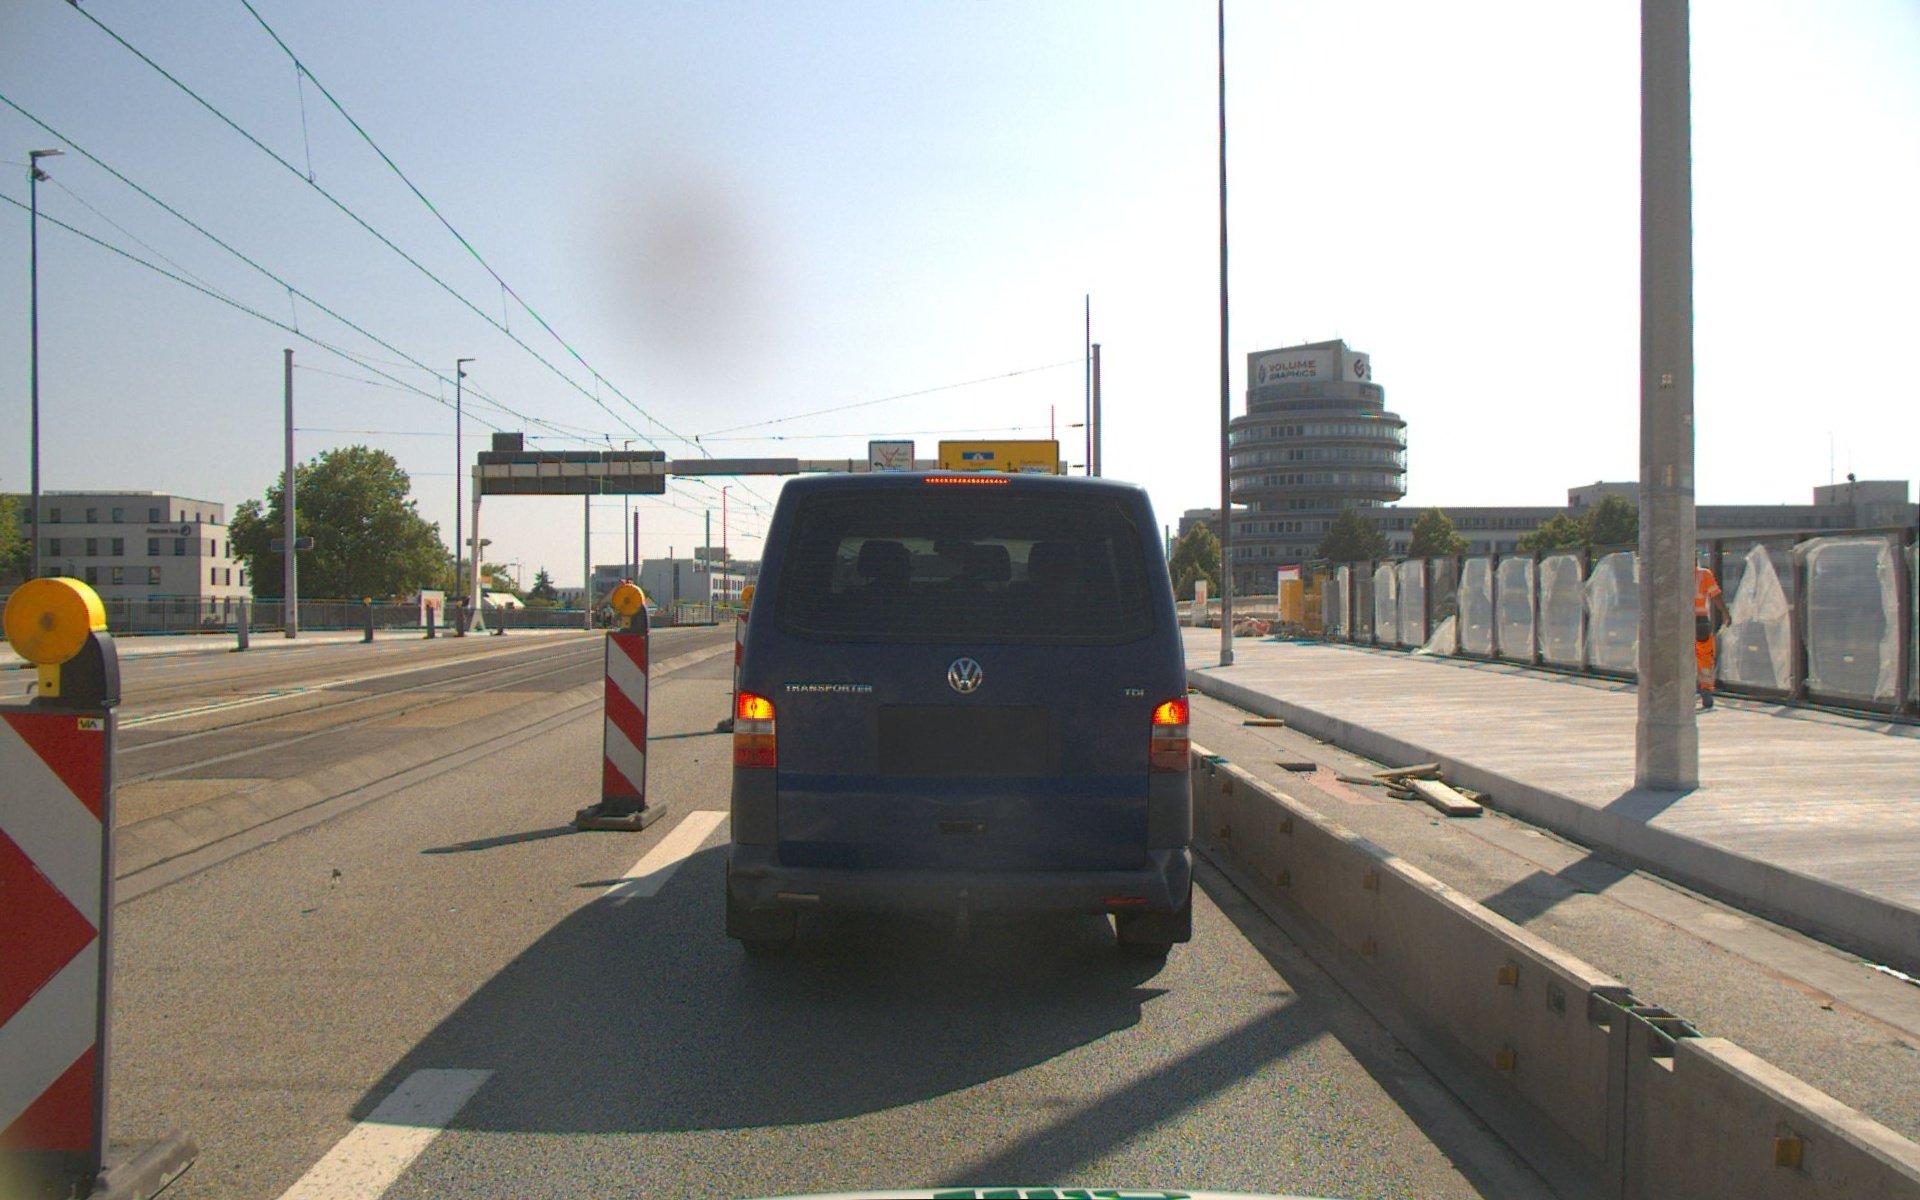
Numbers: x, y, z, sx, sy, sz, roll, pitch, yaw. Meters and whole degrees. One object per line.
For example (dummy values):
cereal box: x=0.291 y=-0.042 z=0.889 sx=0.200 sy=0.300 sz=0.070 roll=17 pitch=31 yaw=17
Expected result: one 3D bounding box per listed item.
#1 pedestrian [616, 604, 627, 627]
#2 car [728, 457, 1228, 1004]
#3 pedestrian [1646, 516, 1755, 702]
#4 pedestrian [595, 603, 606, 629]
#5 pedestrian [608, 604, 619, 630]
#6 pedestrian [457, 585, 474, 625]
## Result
pedestrian: x=-24.558 y=1.117 z=119.986 sx=0.621 sy=1.626 sz=0.752 roll=1 pitch=0 yaw=-1
car: x=0.033 y=0.446 z=7.914 sx=1.779 sy=1.939 sz=4.053 roll=0 pitch=0 yaw=-1
pedestrian: x=8.100 y=0.099 z=18.124 sx=0.766 sy=1.969 sz=0.799 roll=-2 pitch=0 yaw=-1
pedestrian: x=-25.489 y=1.127 z=117.173 sx=0.621 sy=1.783 sz=0.752 roll=1 pitch=0 yaw=-2
pedestrian: x=-24.565 y=1.217 z=117.266 sx=0.621 sy=1.805 sz=0.752 roll=1 pitch=0 yaw=-1
pedestrian: x=-24.243 y=0.246 z=81.086 sx=0.621 sy=1.926 sz=0.752 roll=1 pitch=0 yaw=-1
